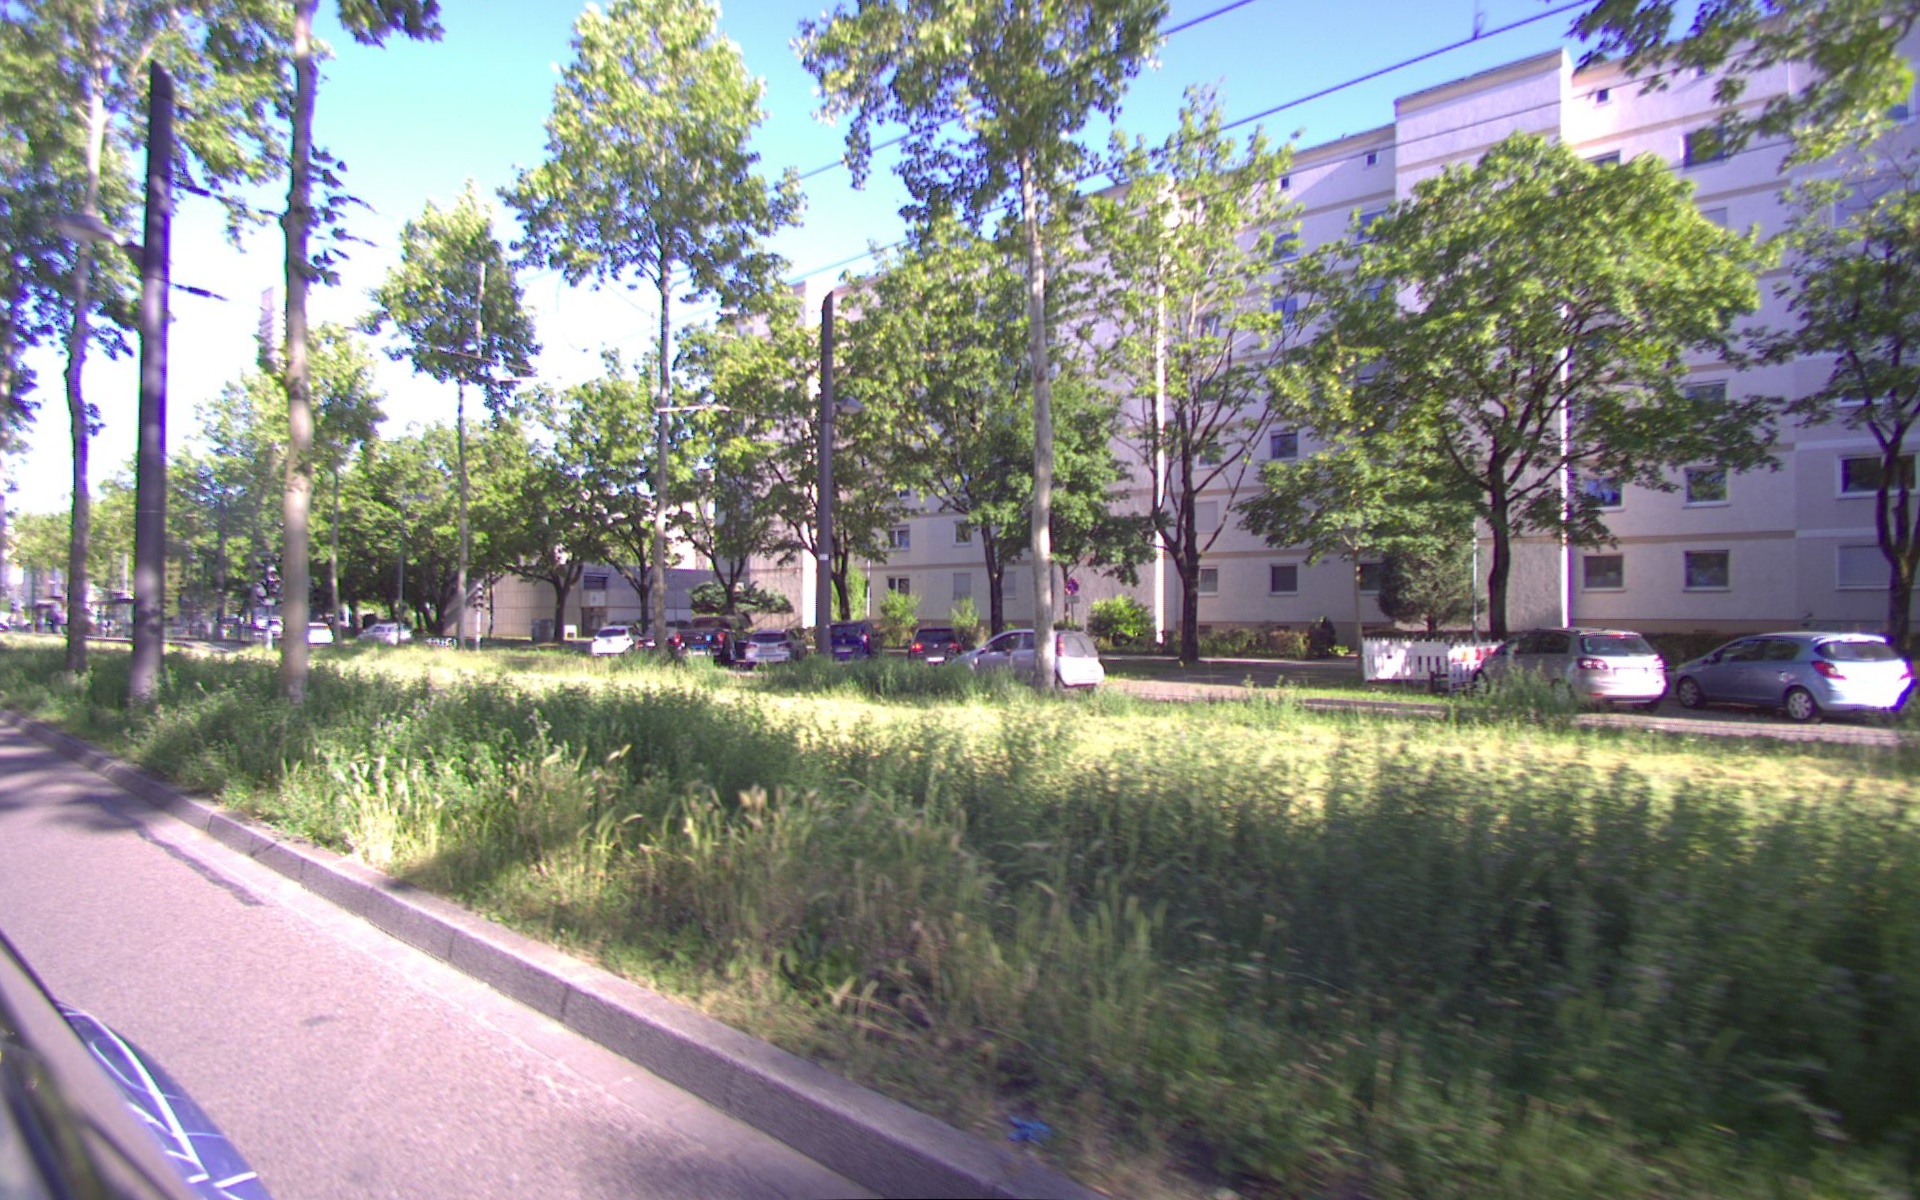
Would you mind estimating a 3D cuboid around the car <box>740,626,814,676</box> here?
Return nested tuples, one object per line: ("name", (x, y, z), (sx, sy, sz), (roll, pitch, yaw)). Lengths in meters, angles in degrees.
("car", (-6.417, 1.781, 35.895), (1.630, 1.658, 4.079), (-1, -2, 4))

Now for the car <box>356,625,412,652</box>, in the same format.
("car", (-34.371, 2.269, 60.372), (4.200, 1.557, 1.695), (-2, -3, 43))

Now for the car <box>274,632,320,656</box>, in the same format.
("car", (-44.426, 2.949, 67.797), (3.934, 1.557, 1.694), (-2, -3, 44))

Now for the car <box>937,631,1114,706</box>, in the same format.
("car", (1.434, 1.501, 23.117), (3.847, 1.497, 1.629), (0, -2, 41))

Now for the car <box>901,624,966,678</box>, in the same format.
("car", (-0.892, 1.570, 31.920), (1.626, 1.487, 4.090), (-4, -1, -6))

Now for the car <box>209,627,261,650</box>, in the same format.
("car", (-47.066, 2.489, 65.672), (4.168, 1.400, 1.971), (-2, -2, 43))

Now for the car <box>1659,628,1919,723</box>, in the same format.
("car", (14.648, 1.240, 17.919), (1.628, 1.494, 4.085), (0, -2, -1))

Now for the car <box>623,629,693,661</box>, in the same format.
("car", (-12.359, 1.818, 41.646), (1.814, 1.256, 3.826), (0, -2, -1))

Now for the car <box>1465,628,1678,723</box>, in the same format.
("car", (11.750, 1.378, 19.814), (1.628, 1.658, 4.085), (0, -2, -1))

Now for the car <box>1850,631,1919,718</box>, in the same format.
("car", (16.834, 1.233, 16.152), (1.557, 1.443, 4.085), (0, -2, -1))

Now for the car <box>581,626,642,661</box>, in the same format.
("car", (-15.100, 1.856, 43.996), (1.811, 1.446, 3.832), (0, -2, -8))

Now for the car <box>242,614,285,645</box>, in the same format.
("car", (-52.235, 2.205, 75.896), (3.931, 2.279, 1.696), (-2, -2, 41))

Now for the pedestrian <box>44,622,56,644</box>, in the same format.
("pedestrian", (-78.623, 2.810, 87.412), (0.636, 1.881, 0.712), (-2, -2, 42))

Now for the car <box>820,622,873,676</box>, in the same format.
("car", (-3.793, 1.631, 34.247), (1.626, 1.658, 4.089), (-2, -2, -5))

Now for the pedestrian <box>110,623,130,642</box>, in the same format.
("pedestrian", (-57.709, 2.249, 69.548), (0.825, 1.270, 0.802), (0, -1, -20))

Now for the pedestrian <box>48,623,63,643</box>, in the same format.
("pedestrian", (-77.793, 2.796, 87.068), (0.754, 1.702, 0.873), (-2, -2, 42))

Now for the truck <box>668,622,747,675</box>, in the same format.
("truck", (-9.539, 1.783, 38.463), (1.631, 1.788, 4.078), (2, 0, 5))
